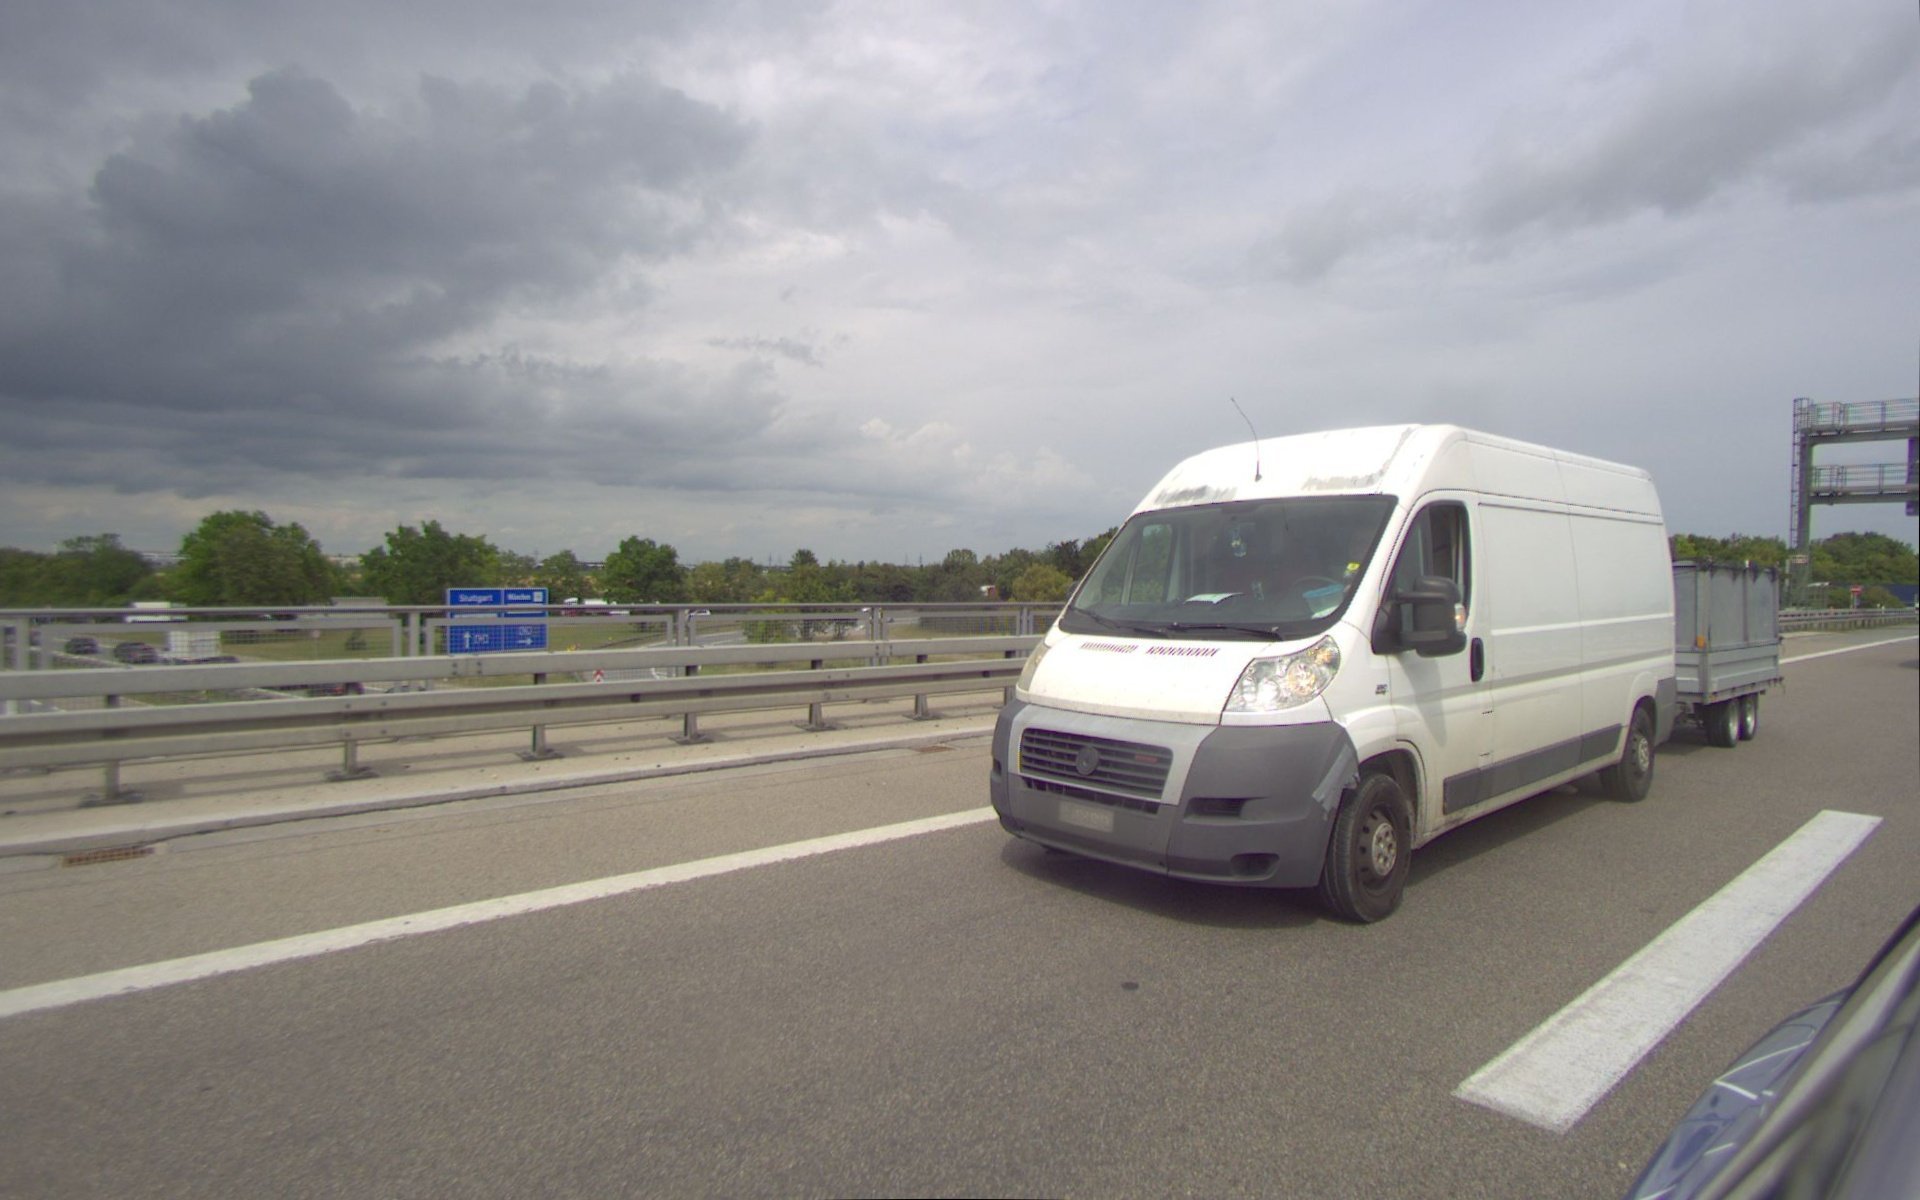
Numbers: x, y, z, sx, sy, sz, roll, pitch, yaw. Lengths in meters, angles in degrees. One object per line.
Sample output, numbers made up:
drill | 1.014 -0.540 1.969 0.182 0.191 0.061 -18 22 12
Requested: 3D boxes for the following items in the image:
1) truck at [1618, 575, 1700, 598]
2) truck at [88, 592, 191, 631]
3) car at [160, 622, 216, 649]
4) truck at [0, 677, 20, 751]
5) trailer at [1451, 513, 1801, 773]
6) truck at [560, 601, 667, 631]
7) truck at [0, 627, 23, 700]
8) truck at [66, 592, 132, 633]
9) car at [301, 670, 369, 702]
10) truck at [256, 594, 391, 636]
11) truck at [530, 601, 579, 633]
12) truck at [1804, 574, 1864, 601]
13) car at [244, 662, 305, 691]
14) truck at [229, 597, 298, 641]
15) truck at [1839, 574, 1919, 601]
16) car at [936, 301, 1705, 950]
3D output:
truck | 104.884 -1.995 152.001 9.776 3.446 2.671 0 0 26
truck | -110.107 1.511 135.833 12.808 5.104 3.935 0 0 14
car | -62.788 2.831 82.312 4.635 2.039 2.159 0 0 32
truck | -47.988 5.427 49.029 7.520 3.237 2.203 0 0 36
trailer | 6.827 0.325 10.158 4.552 2.039 1.857 0 0 -42
truck | -49.445 2.228 144.690 14.423 4.141 3.092 0 0 -21
truck | -68.673 4.206 69.306 13.702 4.612 3.958 0 0 36
truck | -116.965 1.664 137.557 6.347 5.380 3.843 -1 0 14
car | -40.253 5.524 65.188 4.717 1.631 1.976 1 1 34
truck | -82.711 1.862 131.803 14.550 5.281 3.868 0 0 -10
truck | -56.790 2.344 141.893 6.308 4.239 3.169 -1 0 -20
truck | 124.546 -1.767 144.242 5.825 3.851 2.897 0 -1 6
car | -47.366 5.241 69.929 4.435 1.631 1.976 1 1 34
truck | -89.788 2.405 130.591 6.312 5.380 3.864 -1 0 -7
truck | 131.929 -1.759 143.400 11.586 3.907 2.843 0 0 6
car | 2.828 0.084 6.679 6.044 2.485 2.117 0 0 -41
